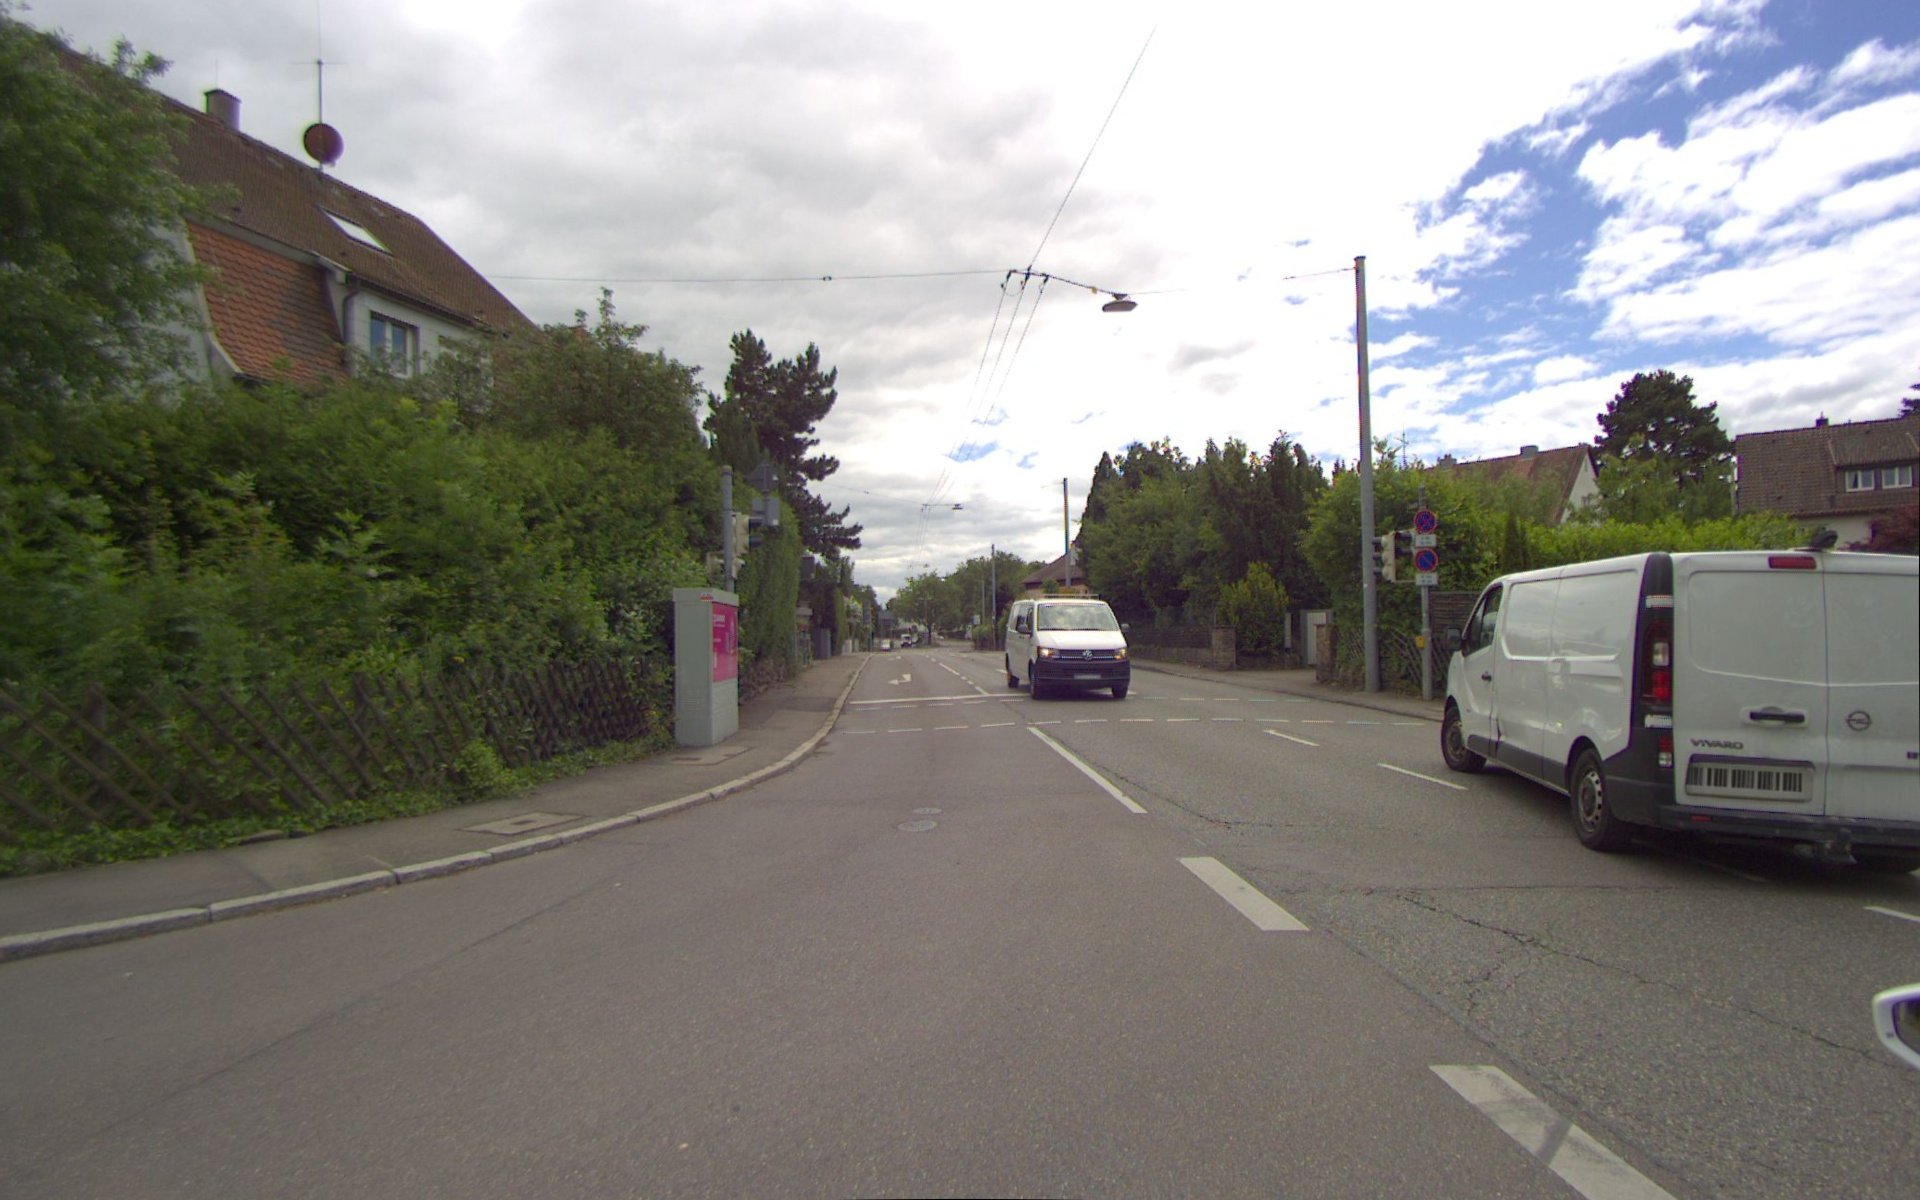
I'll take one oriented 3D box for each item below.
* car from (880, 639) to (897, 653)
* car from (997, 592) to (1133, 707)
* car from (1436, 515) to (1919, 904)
[{"bbox_3d":[-8.271,5.295,116.300,1.781,1.474,4.411,-3,-2,-5],"label":"car"},{"bbox_3d":[2.027,0.965,20.947,1.829,2.075,5.168,-1,-1,-5],"label":"car"},{"bbox_3d":[5.382,0.666,7.852,1.972,2.064,5.014,1,-2,13],"label":"car"}]
